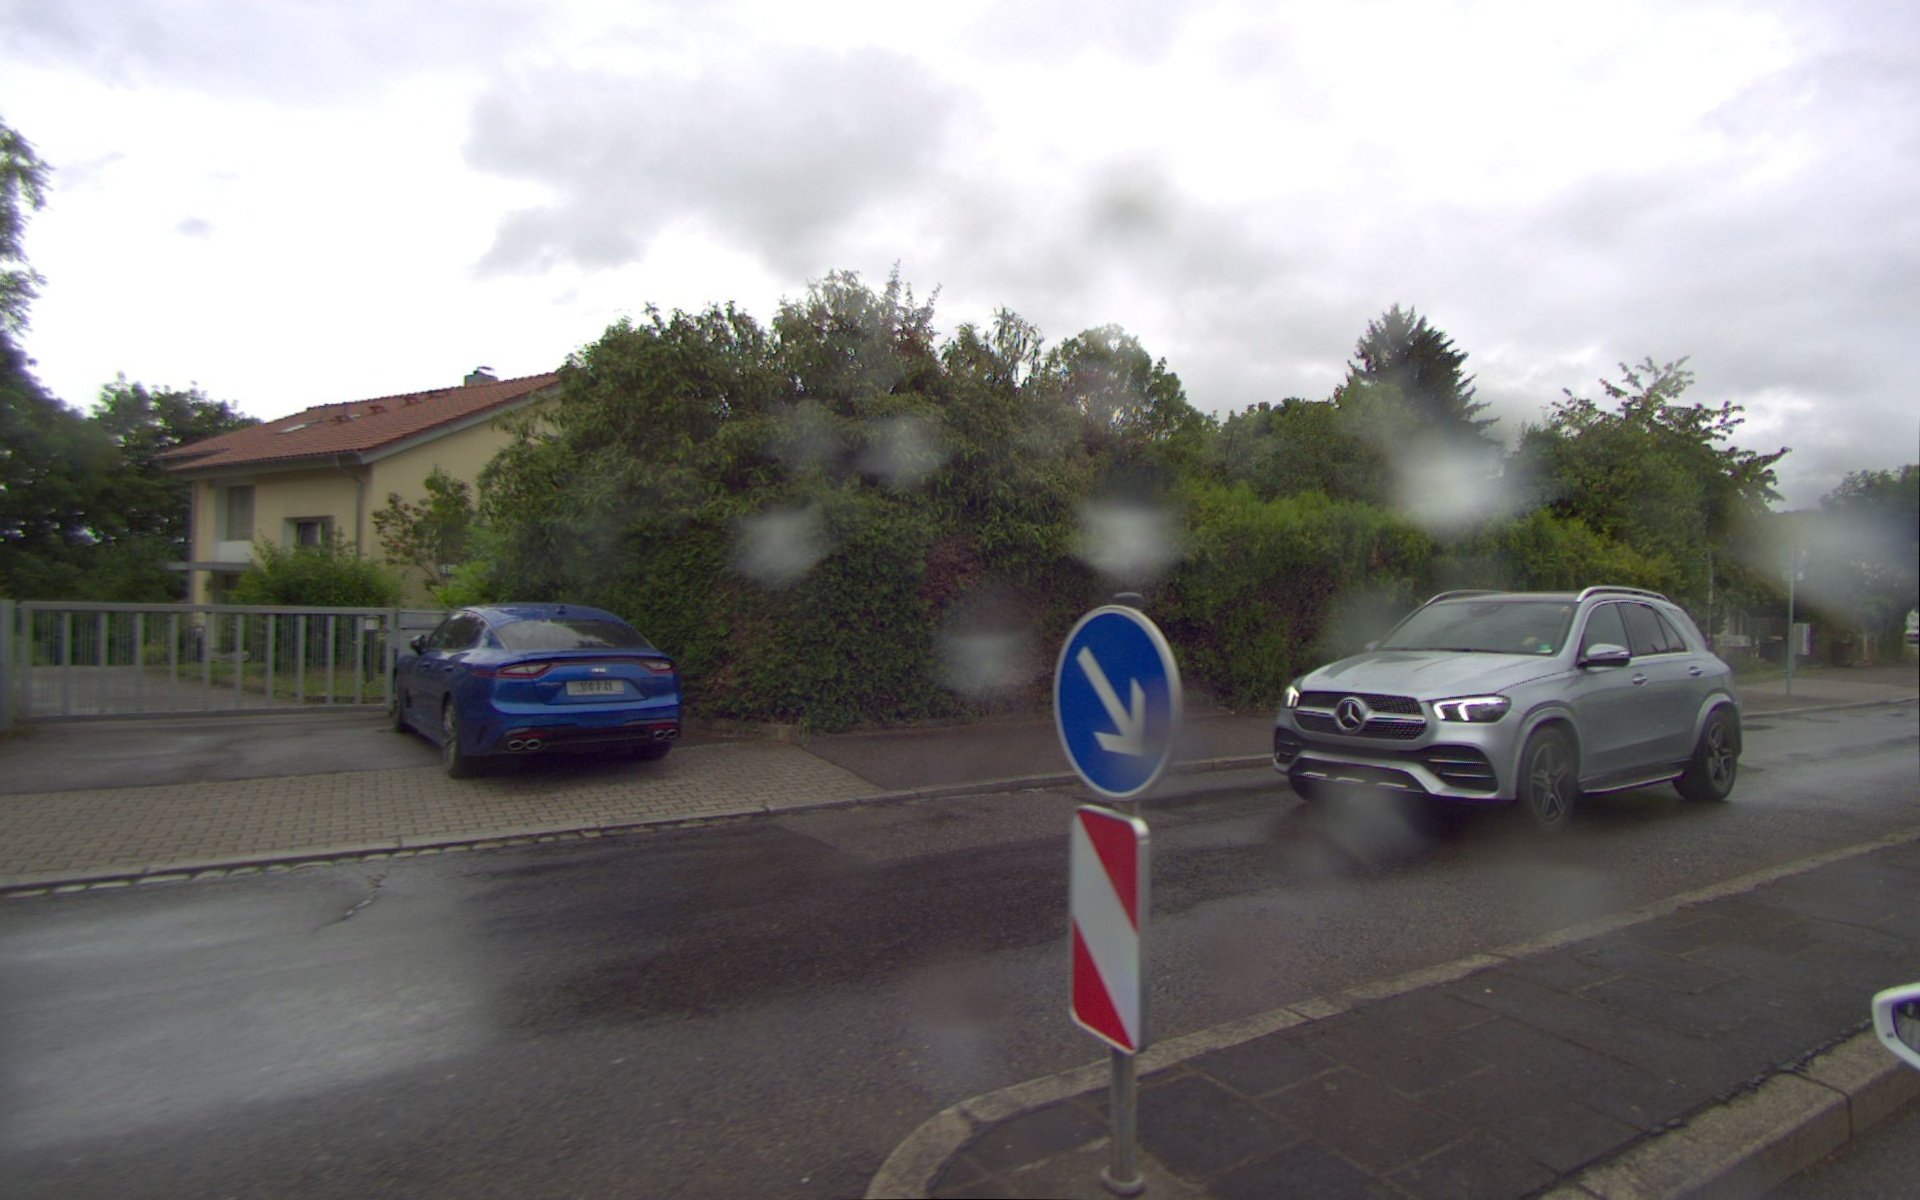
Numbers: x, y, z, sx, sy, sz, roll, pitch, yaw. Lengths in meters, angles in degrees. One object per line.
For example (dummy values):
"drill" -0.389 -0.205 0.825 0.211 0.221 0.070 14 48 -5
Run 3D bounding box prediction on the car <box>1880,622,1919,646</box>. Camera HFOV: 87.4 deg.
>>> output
"car" 63.645 2.313 67.616 1.596 1.602 3.767 -2 -3 29

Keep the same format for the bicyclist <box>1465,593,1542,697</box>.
"bicyclist" 8.874 0.713 16.417 0.858 1.633 0.760 1 1 -32

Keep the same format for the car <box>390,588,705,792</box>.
"car" -4.183 0.637 9.725 1.788 1.380 4.449 -1 3 -37

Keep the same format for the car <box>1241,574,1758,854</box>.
"car" 4.610 0.746 8.372 4.436 1.739 2.028 0 -2 -35
